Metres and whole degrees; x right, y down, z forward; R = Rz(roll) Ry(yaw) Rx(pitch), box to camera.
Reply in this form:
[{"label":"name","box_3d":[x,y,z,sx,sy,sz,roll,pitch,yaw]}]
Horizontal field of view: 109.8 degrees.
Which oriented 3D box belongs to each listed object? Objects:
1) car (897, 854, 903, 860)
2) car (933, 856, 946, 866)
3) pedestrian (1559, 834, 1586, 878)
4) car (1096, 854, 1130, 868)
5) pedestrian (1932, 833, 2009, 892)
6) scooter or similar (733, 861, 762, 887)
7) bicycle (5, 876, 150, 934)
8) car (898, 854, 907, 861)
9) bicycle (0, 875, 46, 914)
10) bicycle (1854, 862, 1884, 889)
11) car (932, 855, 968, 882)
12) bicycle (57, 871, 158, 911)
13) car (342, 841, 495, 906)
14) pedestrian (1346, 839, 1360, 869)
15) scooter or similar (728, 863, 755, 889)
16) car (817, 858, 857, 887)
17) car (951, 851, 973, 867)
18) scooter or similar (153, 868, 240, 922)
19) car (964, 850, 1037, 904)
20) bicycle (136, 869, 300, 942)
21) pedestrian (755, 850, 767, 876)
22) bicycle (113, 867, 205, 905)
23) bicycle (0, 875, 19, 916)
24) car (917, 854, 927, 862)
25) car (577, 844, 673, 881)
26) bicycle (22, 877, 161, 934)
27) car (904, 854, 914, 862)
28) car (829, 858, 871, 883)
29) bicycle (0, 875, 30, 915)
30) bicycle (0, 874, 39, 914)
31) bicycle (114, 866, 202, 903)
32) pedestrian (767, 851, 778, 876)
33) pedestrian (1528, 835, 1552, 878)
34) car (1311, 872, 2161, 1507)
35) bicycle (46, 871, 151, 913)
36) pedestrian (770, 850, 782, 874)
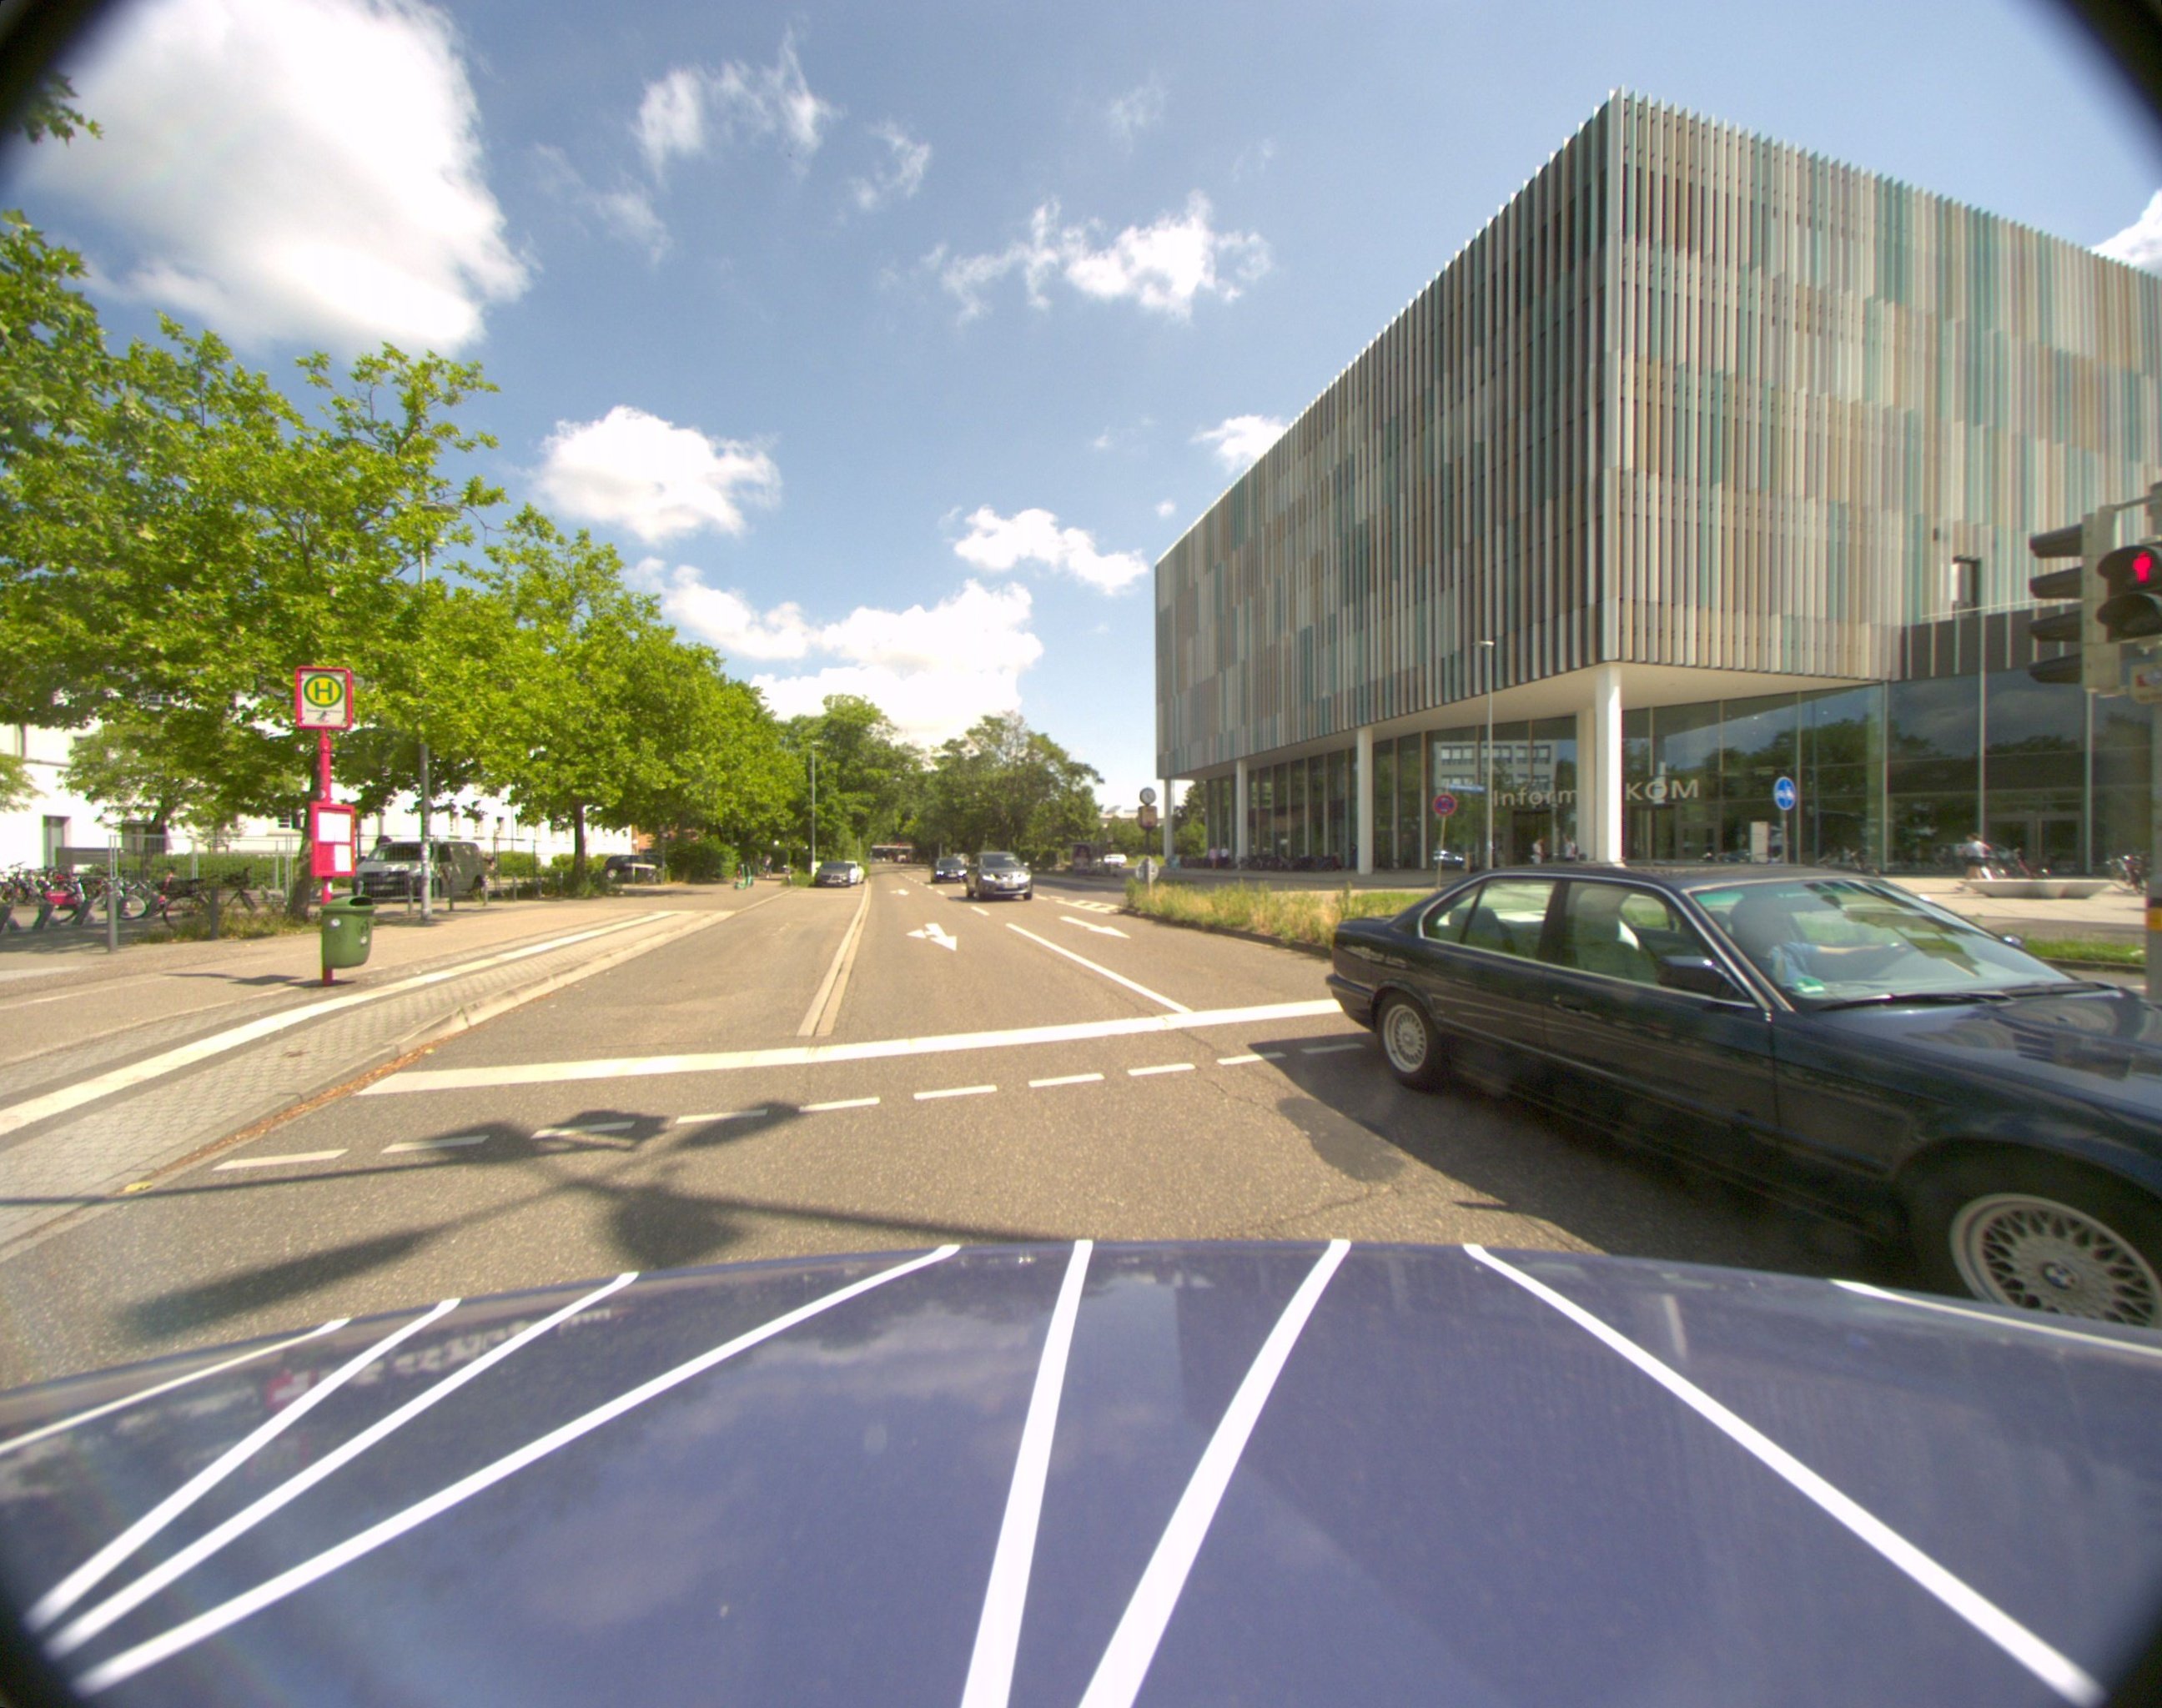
[{"label":"car","box_3d":[-53.916,0.842,226.614,1.759,1.502,3.823,-2,1,-14]},{"label":"car","box_3d":[-23.126,1.194,124.403,1.900,1.502,3.824,-2,1,-10]},{"label":"pedestrian","box_3d":[21.273,0.083,32.917,0.691,1.831,0.677,-2,1,-8]},{"label":"car","box_3d":[3.856,0.875,92.500,3.828,1.502,1.898,-2,1,-10]},{"label":"pedestrian","box_3d":[25.268,0.231,21.601,1.183,1.641,1.014,-1,1,-15]},{"label":"scooter or similar","box_3d":[-16.073,0.973,36.615,0.529,1.239,1.291,1,0,19]},{"label":"bicycle","box_3d":[-21.512,1.067,16.352,0.602,1.092,1.771,-1,2,44]},{"label":"car","box_3d":[-43.022,0.803,182.978,1.900,1.502,3.824,-2,1,-10]},{"label":"bicycle","box_3d":[-31.289,1.189,21.805,0.602,1.092,1.771,-1,2,44]},{"label":"bicycle","box_3d":[24.438,0.664,23.575,0.527,0.759,1.777,0,1,43]},{"label":"car","box_3d":[-7.553,0.805,44.116,1.830,1.407,4.188,-1,0,-7]},{"label":"bicycle","box_3d":[-29.343,1.095,22.938,0.602,1.092,1.771,-1,2,44]},{"label":"car","box_3d":[-21.220,0.549,24.637,1.905,1.854,4.933,-2,1,-18]},{"label":"pedestrian","box_3d":[16.771,0.018,46.853,0.563,1.831,0.553,-2,1,-23]},{"label":"scooter or similar","box_3d":[-15.314,0.981,34.278,0.529,1.162,1.574,1,-1,-2]},{"label":"car","box_3d":[-13.373,1.003,41.842,1.864,1.470,4.935,1,-1,-15]},{"label":"car","box_3d":[-14.257,0.547,90.730,1.905,1.801,4.724,-1,1,-17]},{"label":"scooter or similar","box_3d":[-21.331,0.983,18.340,1.300,1.226,0.280,-2,3,-30]},{"label":"car","box_3d":[-2.892,0.737,26.562,1.826,1.669,4.472,-1,0,-15]},{"label":"bicycle","box_3d":[-16.121,0.923,14.296,0.799,1.176,2.030,-2,1,-4]},{"label":"pedestrian","box_3d":[-22.562,0.609,53.632,0.685,1.770,0.789,-3,2,-20]},{"label":"bicycle","box_3d":[-29.505,1.004,24.355,0.602,1.092,1.771,-1,2,44]},{"label":"bicycle","box_3d":[-29.751,1.159,20.120,0.602,1.092,1.771,-1,2,44]},{"label":"car","box_3d":[-33.934,0.817,161.893,1.900,1.502,3.824,-2,1,-10]},{"label":"car","box_3d":[-24.398,0.445,40.829,4.003,1.773,1.997,-3,1,-18]},{"label":"bicycle","box_3d":[-21.941,1.108,16.908,0.602,1.092,1.771,-1,2,44]},{"label":"car","box_3d":[-36.914,0.907,163.340,1.900,1.502,3.824,-2,1,-10]},{"label":"car","box_3d":[-14.233,1.021,47.060,1.744,1.442,4.938,1,-1,-8]},{"label":"bicycle","box_3d":[-30.323,1.170,20.755,0.602,1.092,1.771,-1,2,44]},{"label":"bicycle","box_3d":[-30.800,1.165,21.296,0.602,1.092,1.771,-1,2,44]},{"label":"bicycle","box_3d":[-30.526,0.986,25.162,0.602,1.092,1.771,-1,2,44]},{"label":"pedestrian","box_3d":[-21.889,0.670,53.914,0.685,1.770,0.789,-3,2,-22]},{"label":"pedestrian","box_3d":[20.108,0.109,33.287,0.787,1.831,0.518,-1,1,19]},{"label":"car","box_3d":[3.059,0.860,3.511,1.698,1.378,4.608,-2,1,-13]},{"label":"bicycle","box_3d":[-28.623,1.081,22.178,0.602,1.092,1.771,-1,2,44]},{"label":"pedestrian","box_3d":[-22.593,0.600,56.296,0.685,1.770,0.789,-3,2,-22]}]
